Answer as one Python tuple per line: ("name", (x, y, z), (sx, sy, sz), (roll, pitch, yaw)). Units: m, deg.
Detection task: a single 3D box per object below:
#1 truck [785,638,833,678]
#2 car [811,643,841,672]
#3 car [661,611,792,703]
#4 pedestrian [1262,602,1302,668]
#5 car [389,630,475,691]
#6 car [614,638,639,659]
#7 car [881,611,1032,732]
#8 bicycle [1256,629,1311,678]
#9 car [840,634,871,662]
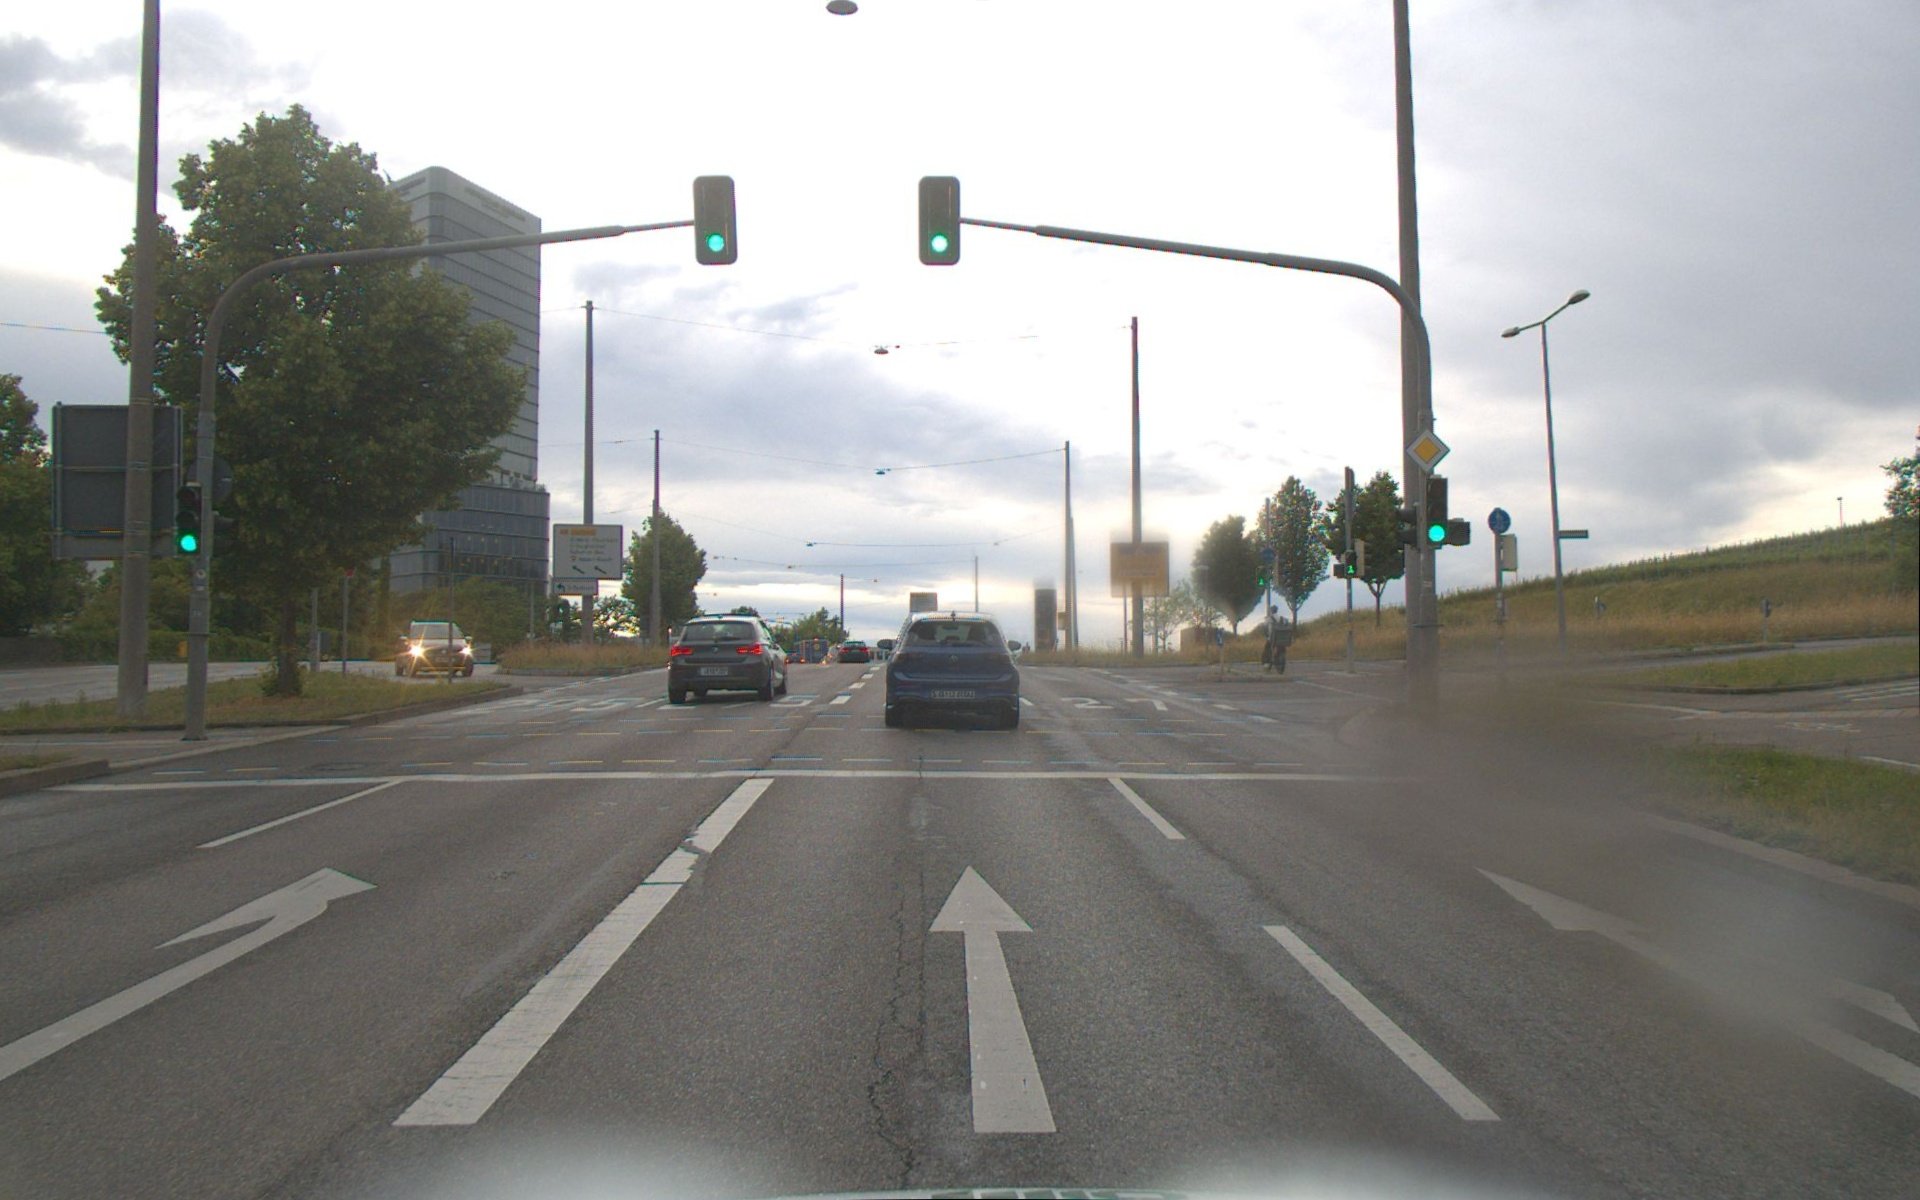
("truck", (-12.996, 5.017, 141.917), (2.625, 3.277, 6.513), (2, -4, -18))
("car", (-10.191, 4.370, 125.565), (1.869, 2.008, 5.081), (0, -4, -9))
("car", (-4.019, 0.972, 29.074), (1.831, 1.487, 3.974), (1, -1, -2))
("pedestrian", (7.984, 0.869, 41.085), (0.621, 1.598, 0.893), (-2, 0, -12))
("car", (-14.314, 1.599, 44.696), (1.864, 1.534, 3.971), (-1, -1, -23))
("car", (-29.041, 4.233, 143.919), (1.861, 1.687, 4.587), (1, -3, -14))
("car", (-0.052, 0.907, 22.373), (1.800, 1.418, 3.999), (2, -1, 0))
("bicycle", (8.024, 1.318, 41.085), (0.622, 1.124, 1.747), (-5, 0, -13))
("car", (-6.212, 2.843, 98.315), (1.687, 1.568, 3.701), (2, -1, -2))
